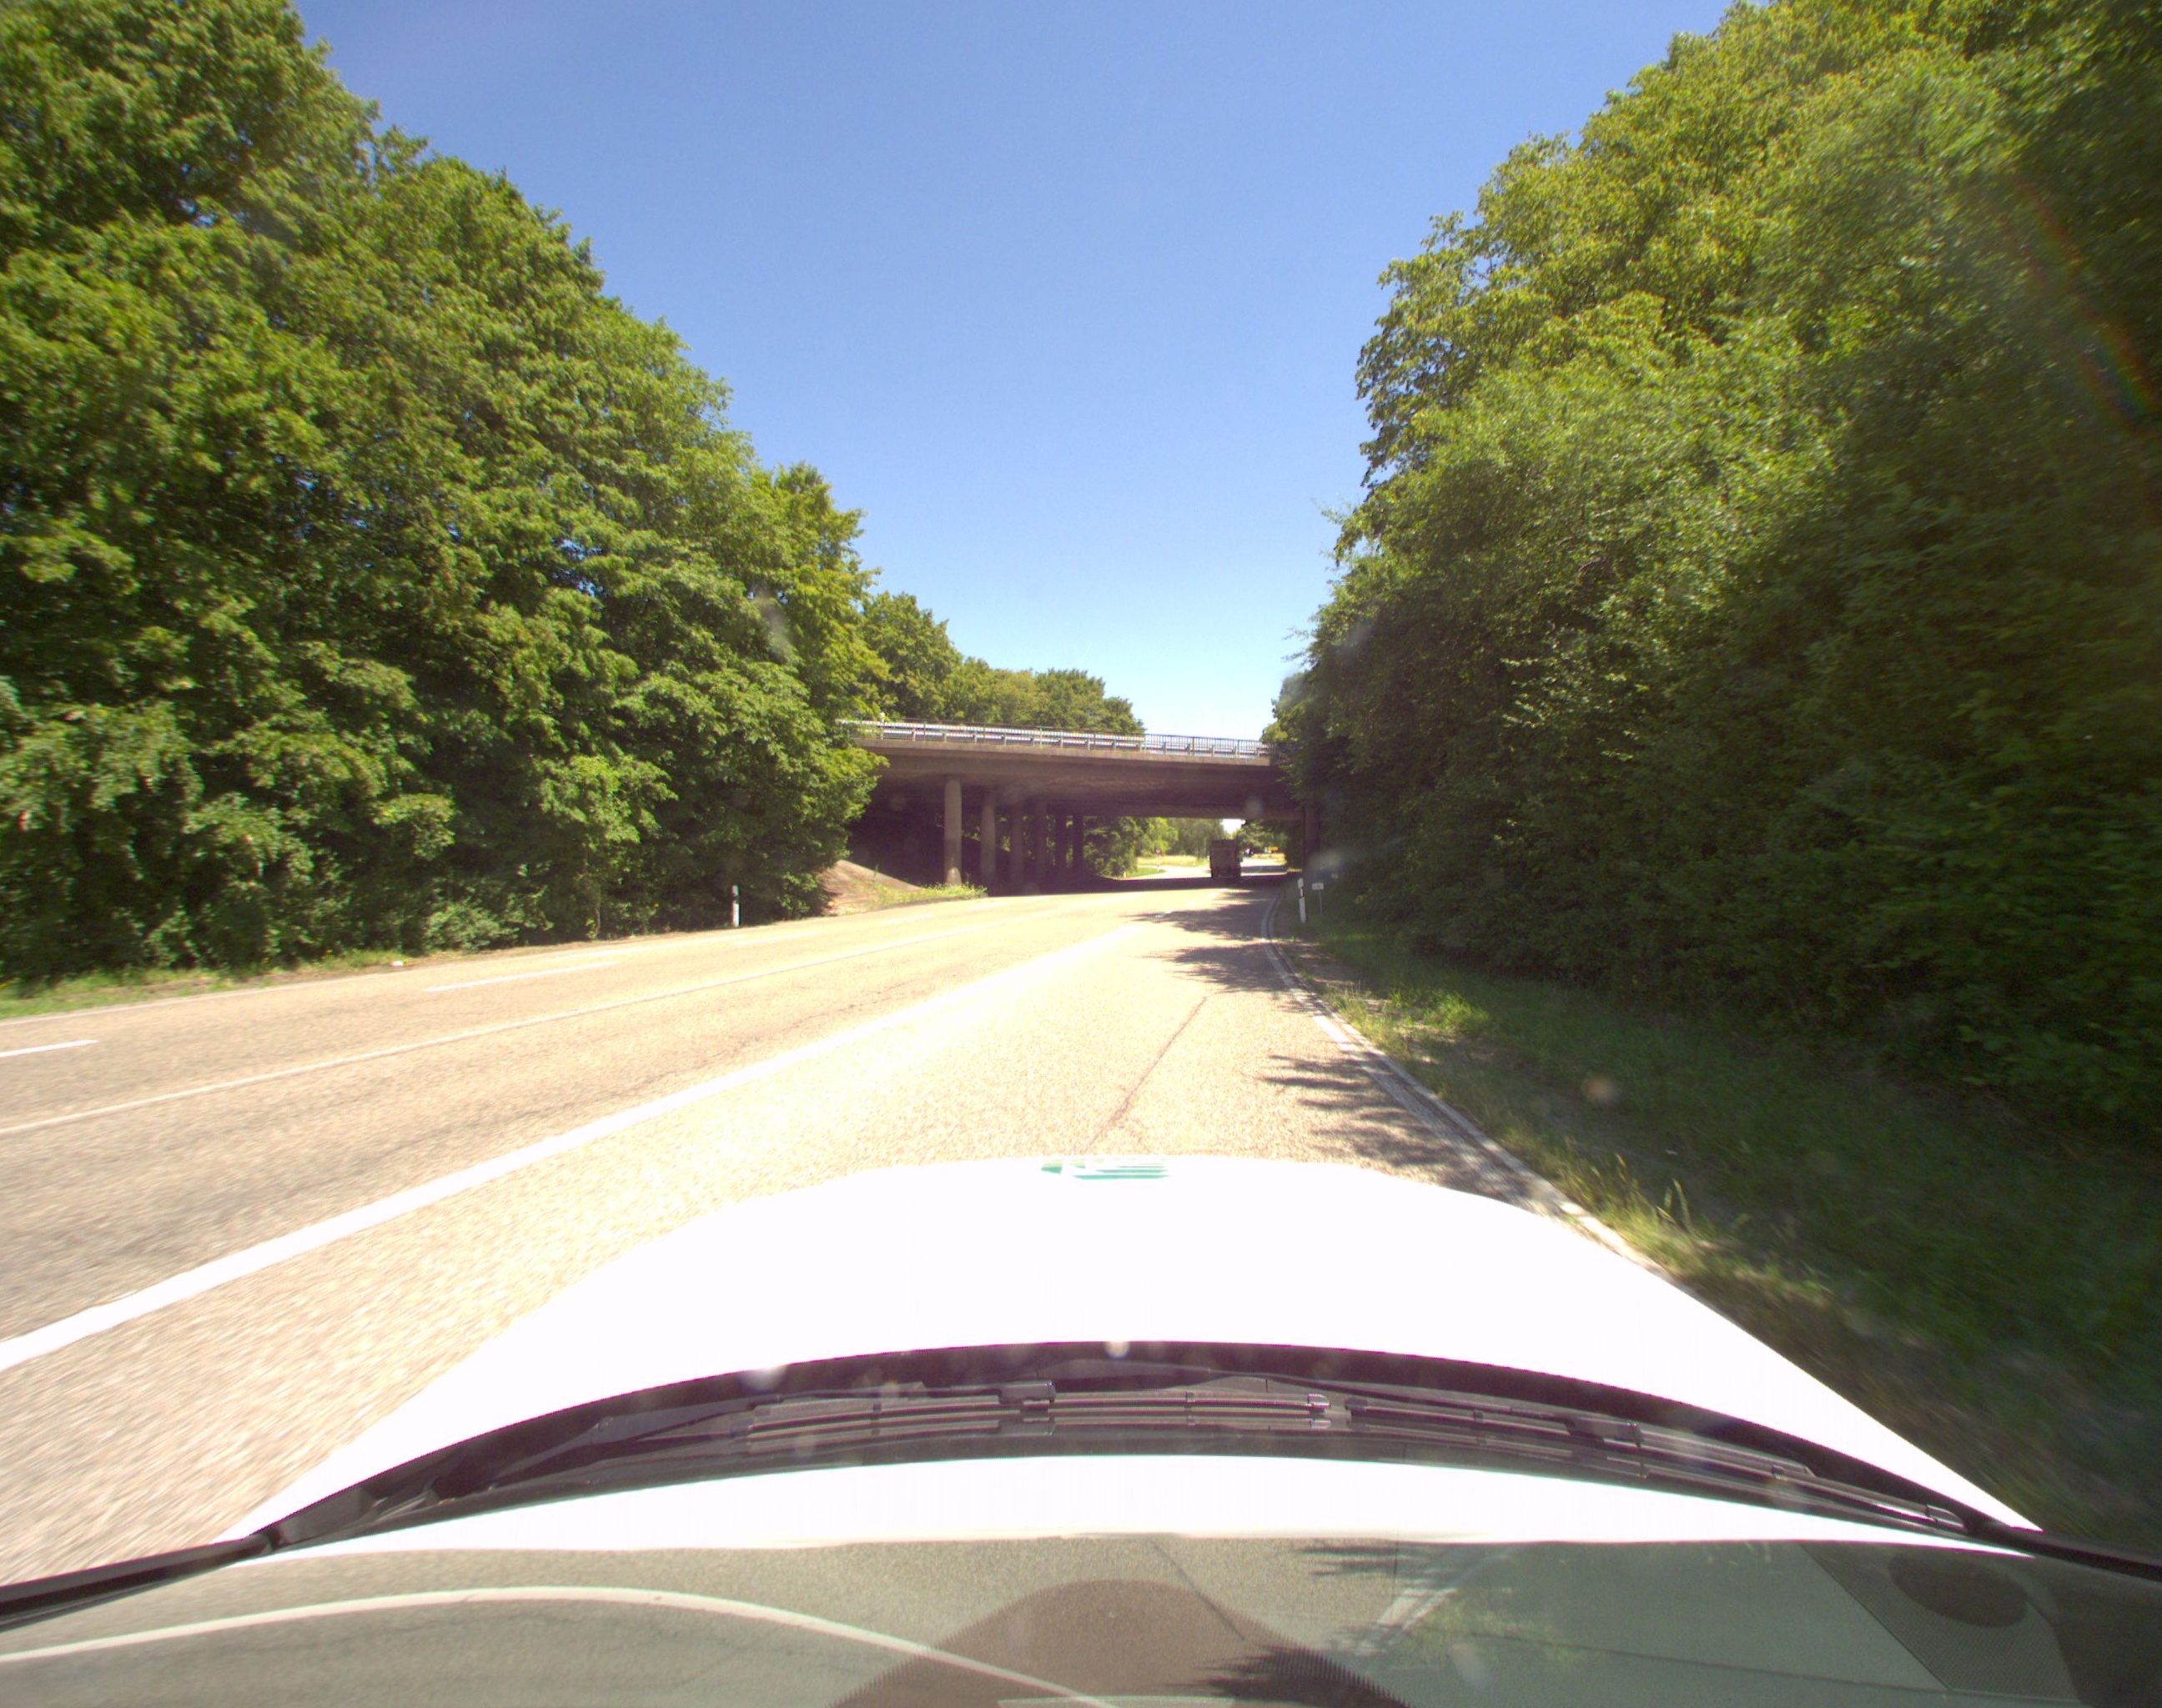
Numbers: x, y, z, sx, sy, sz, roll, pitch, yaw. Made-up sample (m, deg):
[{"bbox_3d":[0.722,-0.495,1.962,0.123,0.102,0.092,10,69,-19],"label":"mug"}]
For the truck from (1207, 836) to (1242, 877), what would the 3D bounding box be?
[{"bbox_3d":[11.088,0.239,62.588,2.224,2.985,5.916,-1,-1,14],"label":"truck"}]
